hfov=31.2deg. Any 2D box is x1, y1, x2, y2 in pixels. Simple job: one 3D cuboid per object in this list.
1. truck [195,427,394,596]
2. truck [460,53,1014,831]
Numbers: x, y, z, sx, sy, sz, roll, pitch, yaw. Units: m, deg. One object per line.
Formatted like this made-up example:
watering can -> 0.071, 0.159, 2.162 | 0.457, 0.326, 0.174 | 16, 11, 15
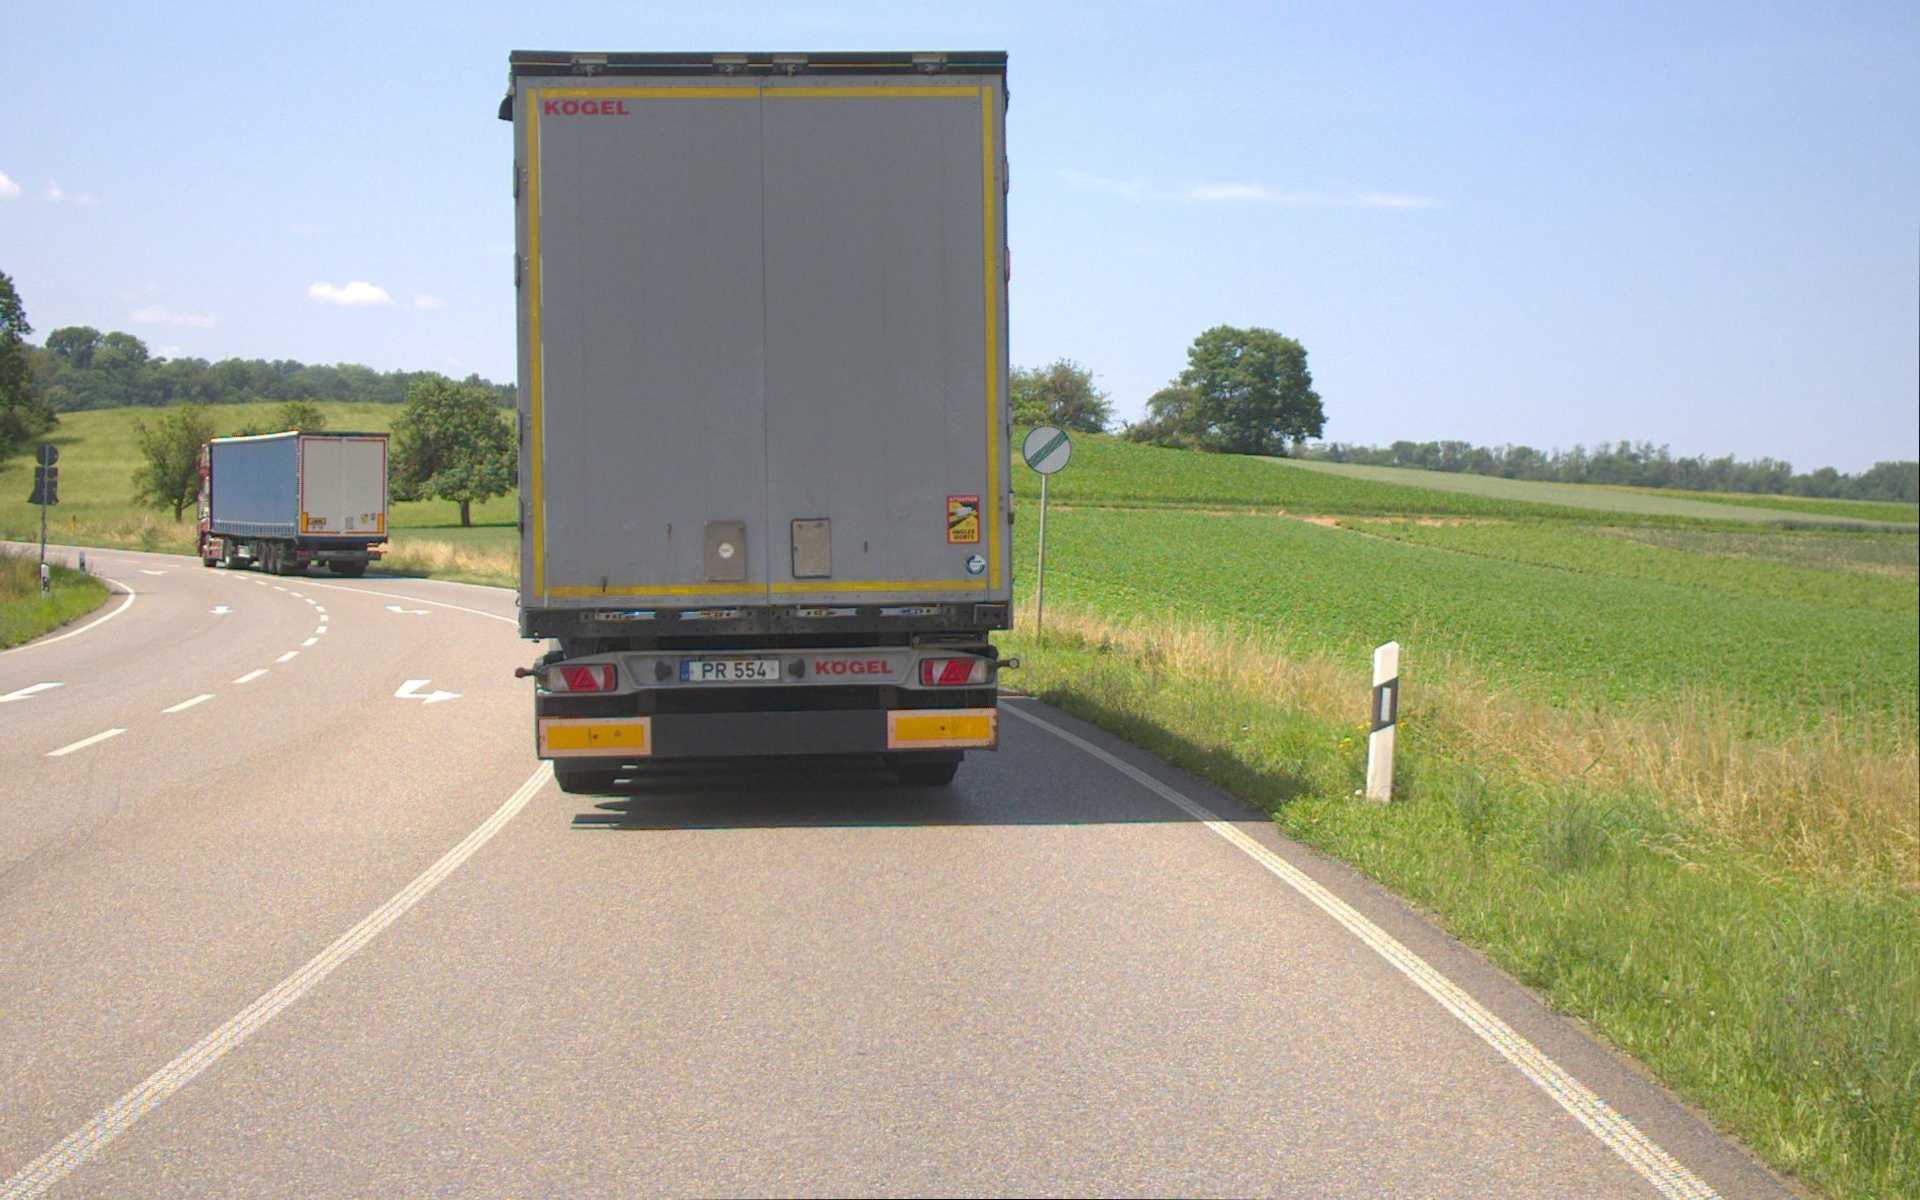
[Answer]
truck -> -20.041, -2.503, 102.484 | 2.960, 4.568, 16.320 | 1, 0, -21
truck -> -1.498, -0.888, 22.280 | 2.807, 3.932, 9.592 | 0, 1, -4
